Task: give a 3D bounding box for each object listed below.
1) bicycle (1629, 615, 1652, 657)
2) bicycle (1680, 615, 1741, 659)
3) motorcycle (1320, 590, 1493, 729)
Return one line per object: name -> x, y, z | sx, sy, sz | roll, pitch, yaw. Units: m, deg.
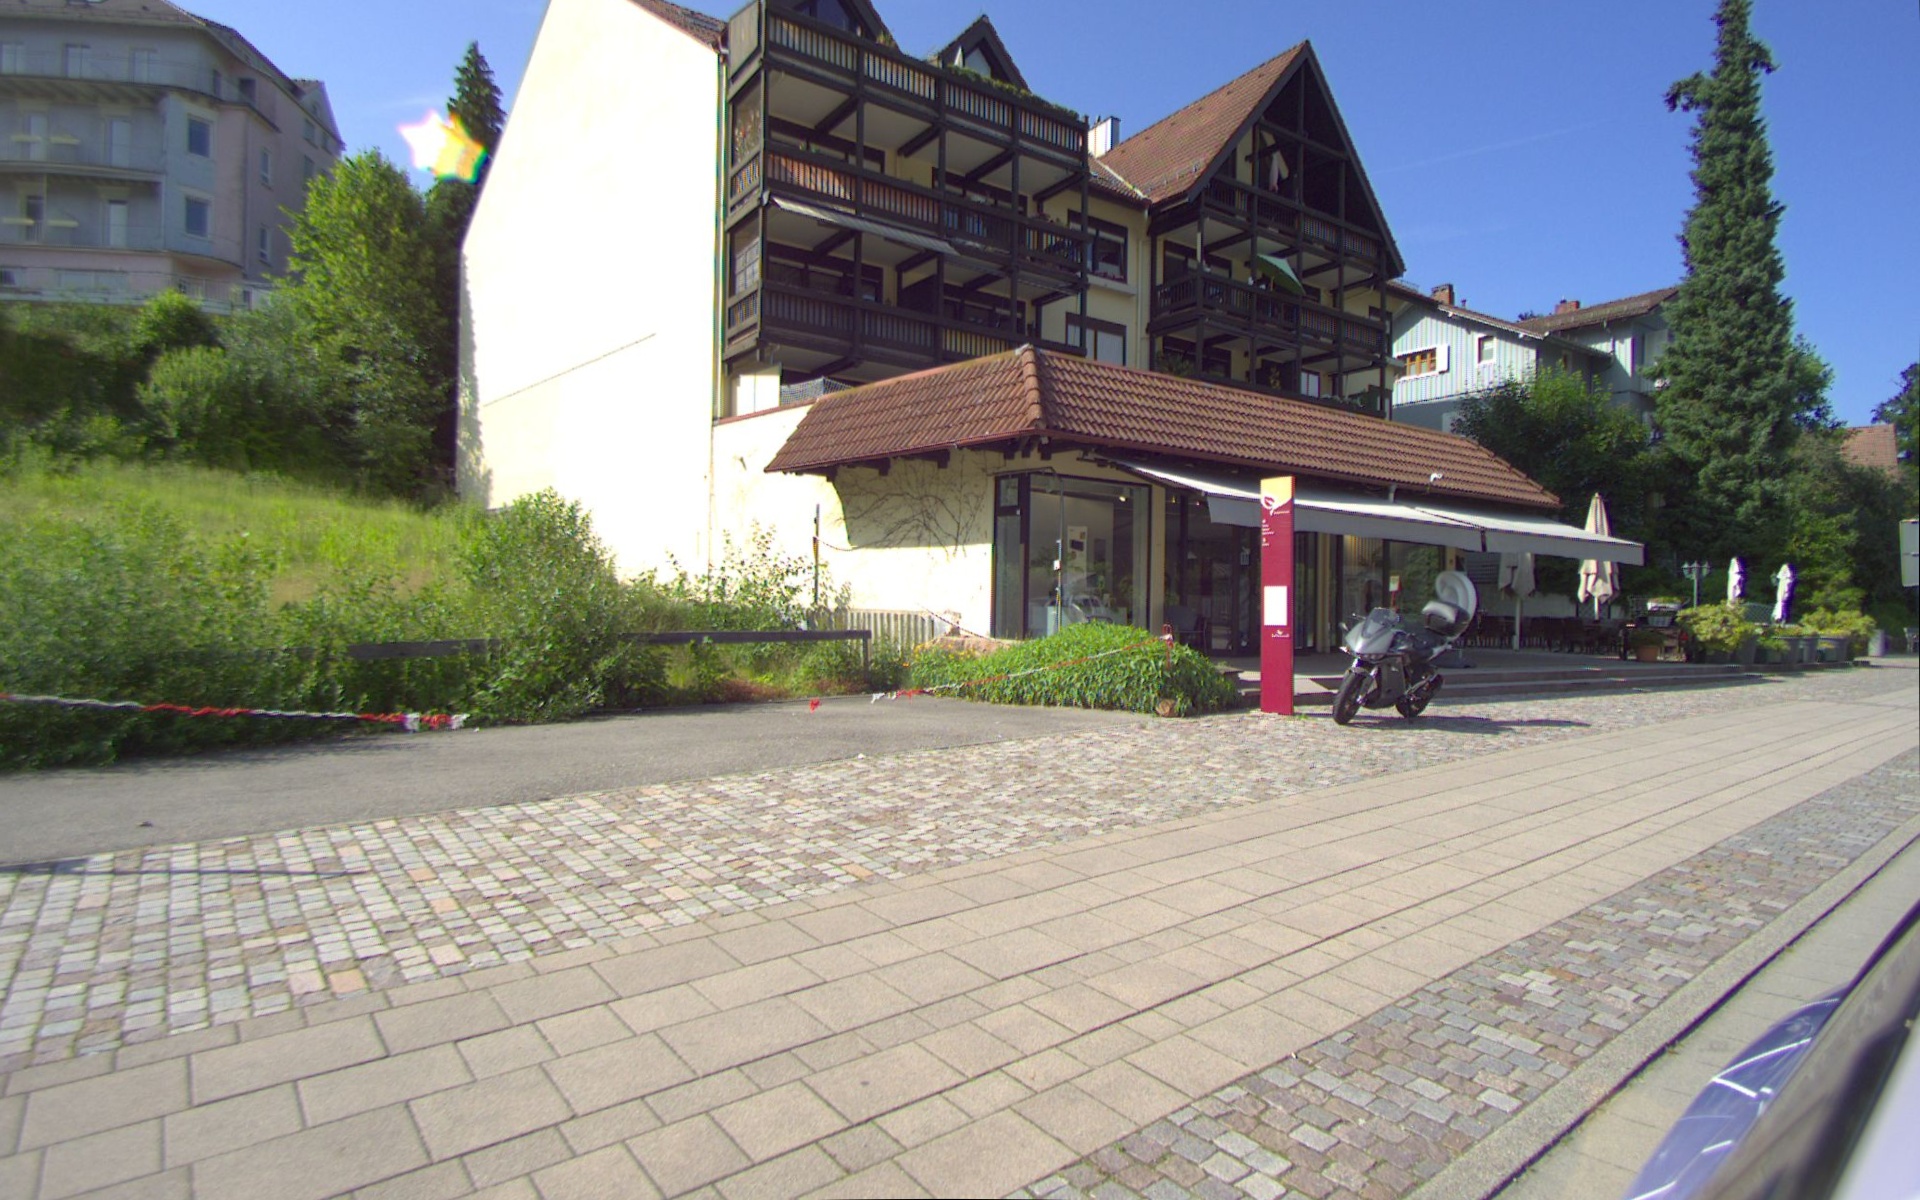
bicycle -> 14.687, 0.761, 21.847 | 0.394, 0.853, 1.597 | 0, 0, 33
bicycle -> 15.682, 0.765, 21.131 | 1.583, 0.875, 0.398 | 1, 0, -29
motorcycle -> 4.769, 0.585, 10.731 | 2.172, 1.312, 0.699 | 1, 2, -39
